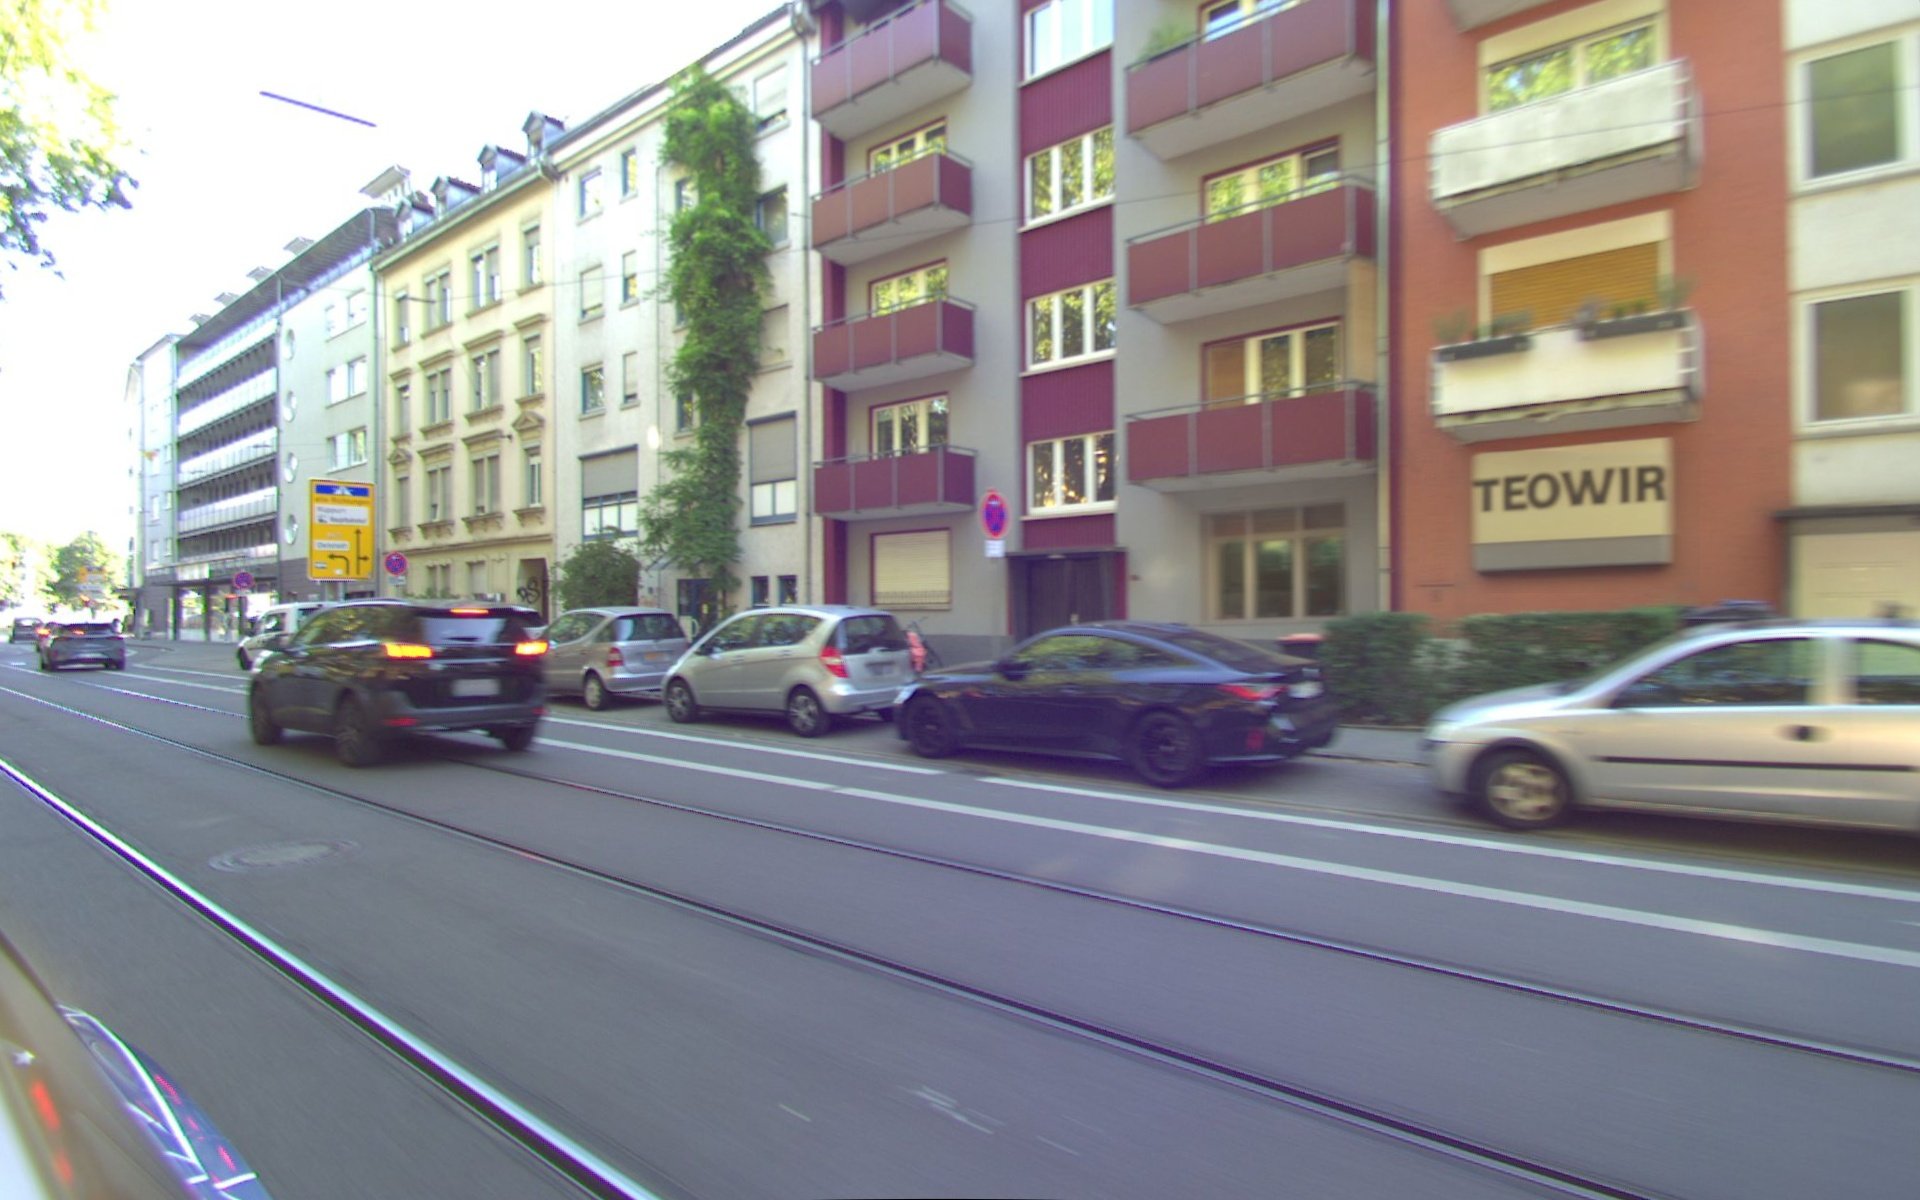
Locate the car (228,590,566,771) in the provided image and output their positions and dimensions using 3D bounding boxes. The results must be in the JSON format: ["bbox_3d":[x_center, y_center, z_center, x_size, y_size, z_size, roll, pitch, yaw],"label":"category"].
[{"bbox_3d":[-6.350,0.757,11.192,4.461,1.612,1.834,-1,-1,40],"label":"car"}]

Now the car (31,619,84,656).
[{"bbox_3d":[-42.110,1.707,47.210,1.774,1.456,4.723,1,1,-42],"label":"car"}]

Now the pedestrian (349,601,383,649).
[{"bbox_3d":[-23.495,0.987,40.031,0.729,1.827,0.953,-1,1,41],"label":"pedestrian"}]

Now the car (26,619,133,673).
[{"bbox_3d":[-25.652,1.302,29.440,4.050,1.457,1.777,-1,-2,41],"label":"car"}]

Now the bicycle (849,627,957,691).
[{"bbox_3d":[-1.031,1.068,18.891,0.698,1.000,2.268,-1,1,37],"label":"bicycle"}]

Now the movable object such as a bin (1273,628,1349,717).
[{"bbox_3d":[4.368,0.878,12.602,0.721,1.056,0.559,-1,-1,42],"label":"movable object such as a bin"}]

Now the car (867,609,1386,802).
[{"bbox_3d":[1.456,0.861,10.202,4.861,1.405,1.932,-1,2,42],"label":"car"}]

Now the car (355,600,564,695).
[{"bbox_3d":[-10.209,0.869,20.476,4.877,1.661,1.933,-1,1,40],"label":"car"}]

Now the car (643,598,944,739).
[{"bbox_3d":[-2.335,0.827,13.701,4.000,1.599,1.802,-1,0,39],"label":"car"}]

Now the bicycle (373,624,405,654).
[{"bbox_3d":[-20.206,1.369,35.792,0.639,0.978,2.142,-2,0,-39],"label":"bicycle"}]

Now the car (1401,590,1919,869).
[{"bbox_3d":[5.256,0.724,6.742,3.926,1.494,1.708,-1,2,40],"label":"car"}]

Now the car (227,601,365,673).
[{"bbox_3d":[-18.252,0.982,27.744,4.464,1.784,1.772,-1,0,38],"label":"car"}]

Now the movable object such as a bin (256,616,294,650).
[{"bbox_3d":[-30.215,1.435,44.638,1.208,1.461,1.047,-1,-1,36],"label":"movable object such as a bin"}]

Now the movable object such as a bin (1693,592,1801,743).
[{"bbox_3d":[7.736,0.625,9.935,0.747,1.375,1.198,-1,-1,42],"label":"movable object such as a bin"}]

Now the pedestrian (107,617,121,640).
[{"bbox_3d":[-62.062,2.071,74.246,0.705,1.686,0.906,0,-1,-35],"label":"pedestrian"}]

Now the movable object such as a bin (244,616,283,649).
[{"bbox_3d":[-31.212,1.454,45.362,1.211,1.461,1.129,-1,-1,36],"label":"movable object such as a bin"}]

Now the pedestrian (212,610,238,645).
[{"bbox_3d":[-37.324,1.391,51.391,0.819,1.726,0.779,-1,2,40],"label":"pedestrian"}]

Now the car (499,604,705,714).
[{"bbox_3d":[-6.046,0.889,16.899,3.780,1.583,1.609,-1,1,42],"label":"car"}]
